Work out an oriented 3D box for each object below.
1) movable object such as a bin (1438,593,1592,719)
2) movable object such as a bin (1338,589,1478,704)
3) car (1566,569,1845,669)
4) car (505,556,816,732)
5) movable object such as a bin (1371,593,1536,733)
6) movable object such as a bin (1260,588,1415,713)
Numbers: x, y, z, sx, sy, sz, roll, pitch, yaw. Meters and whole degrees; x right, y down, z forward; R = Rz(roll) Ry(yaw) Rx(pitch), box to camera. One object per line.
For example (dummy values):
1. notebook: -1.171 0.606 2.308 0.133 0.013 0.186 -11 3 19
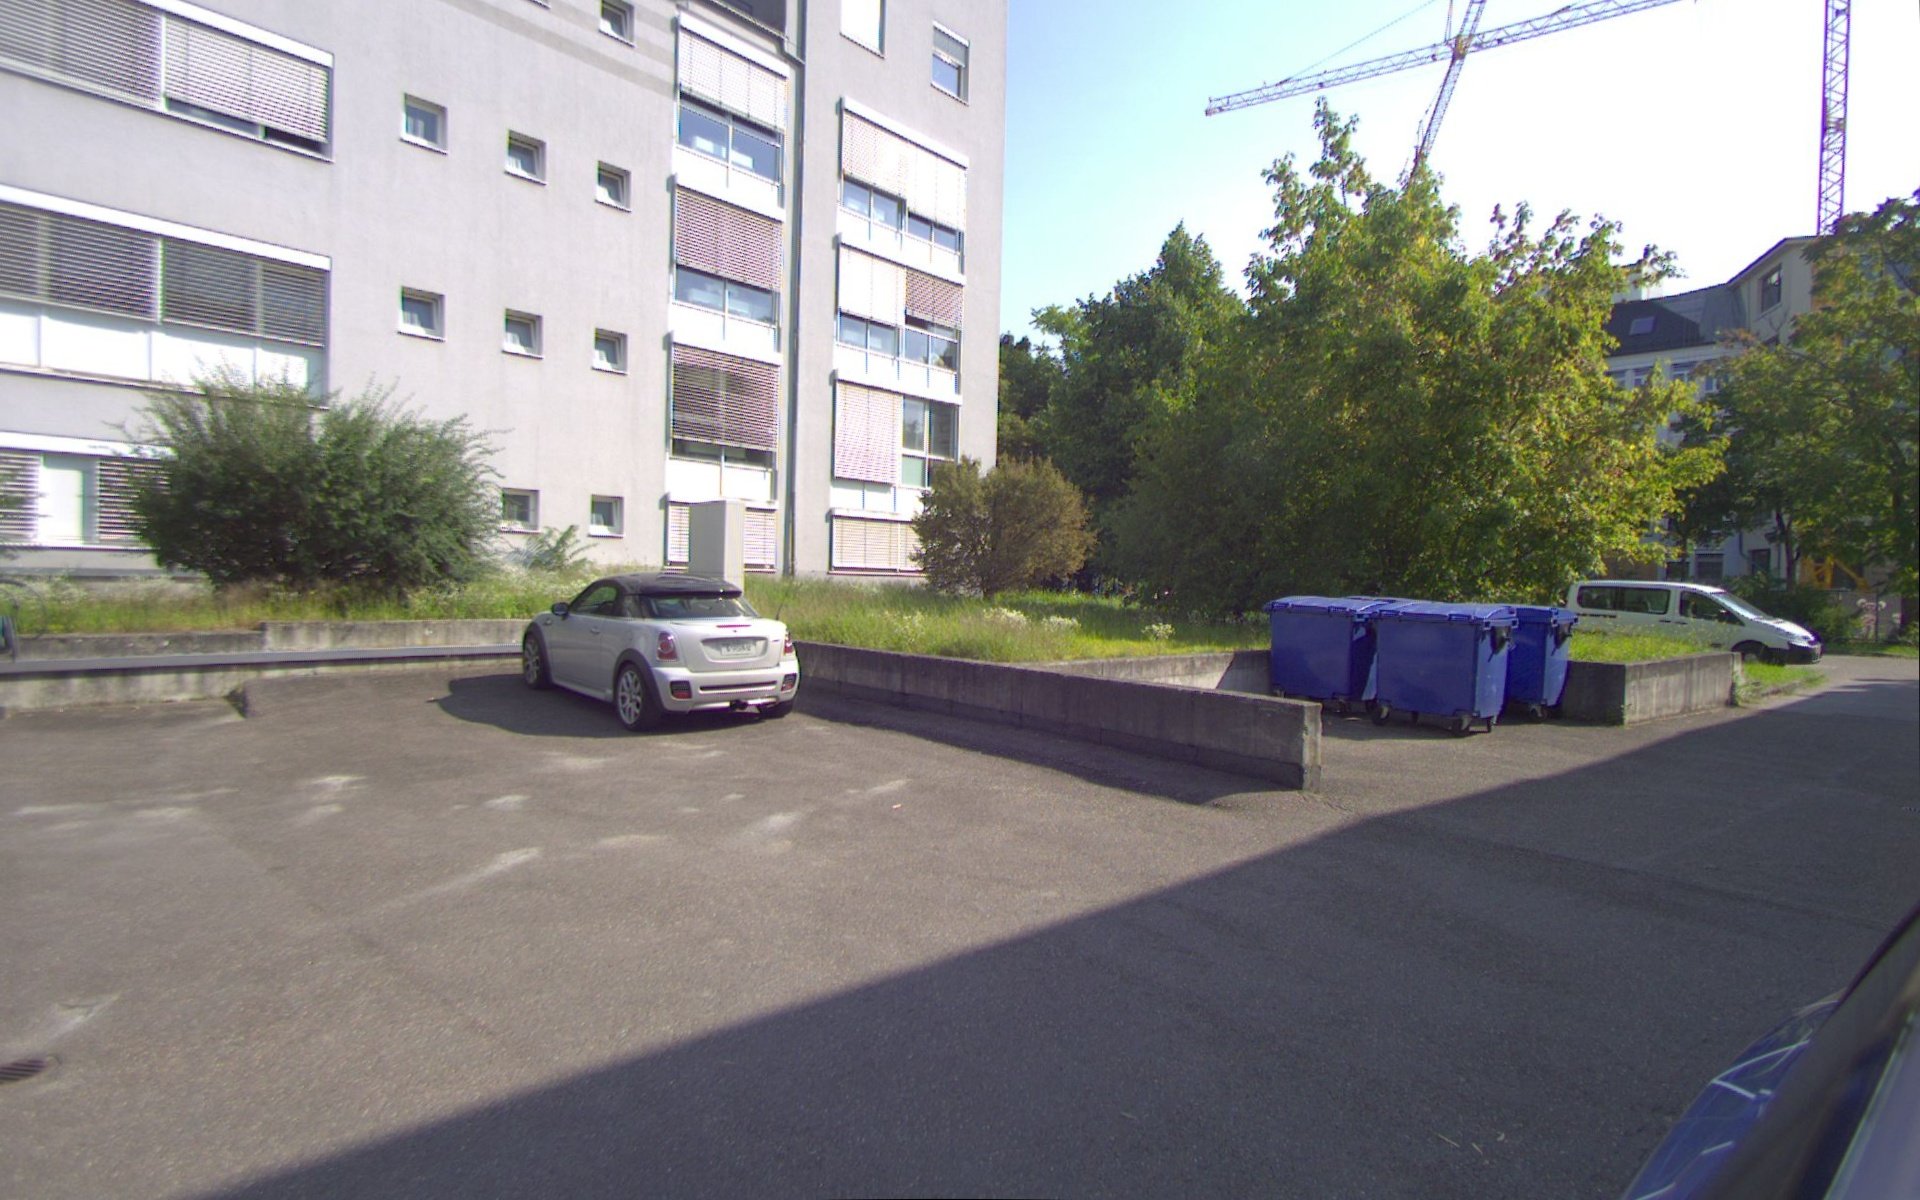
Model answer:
1. movable object such as a bin: 6.530 0.611 11.921 1.252 1.344 1.199 1 1 -40
2. movable object such as a bin: 5.768 0.558 13.032 1.252 1.344 1.199 1 1 -40
3. car: 16.897 0.336 23.174 1.874 1.955 4.791 1 2 -38
4. car: -3.214 0.326 10.479 1.631 1.455 3.574 1 2 -43
5. movable object such as a bin: 5.346 0.631 10.972 1.253 1.368 1.212 1 1 -42
6. movable object such as a bin: 4.482 0.551 12.029 1.252 1.344 1.256 1 1 -40
